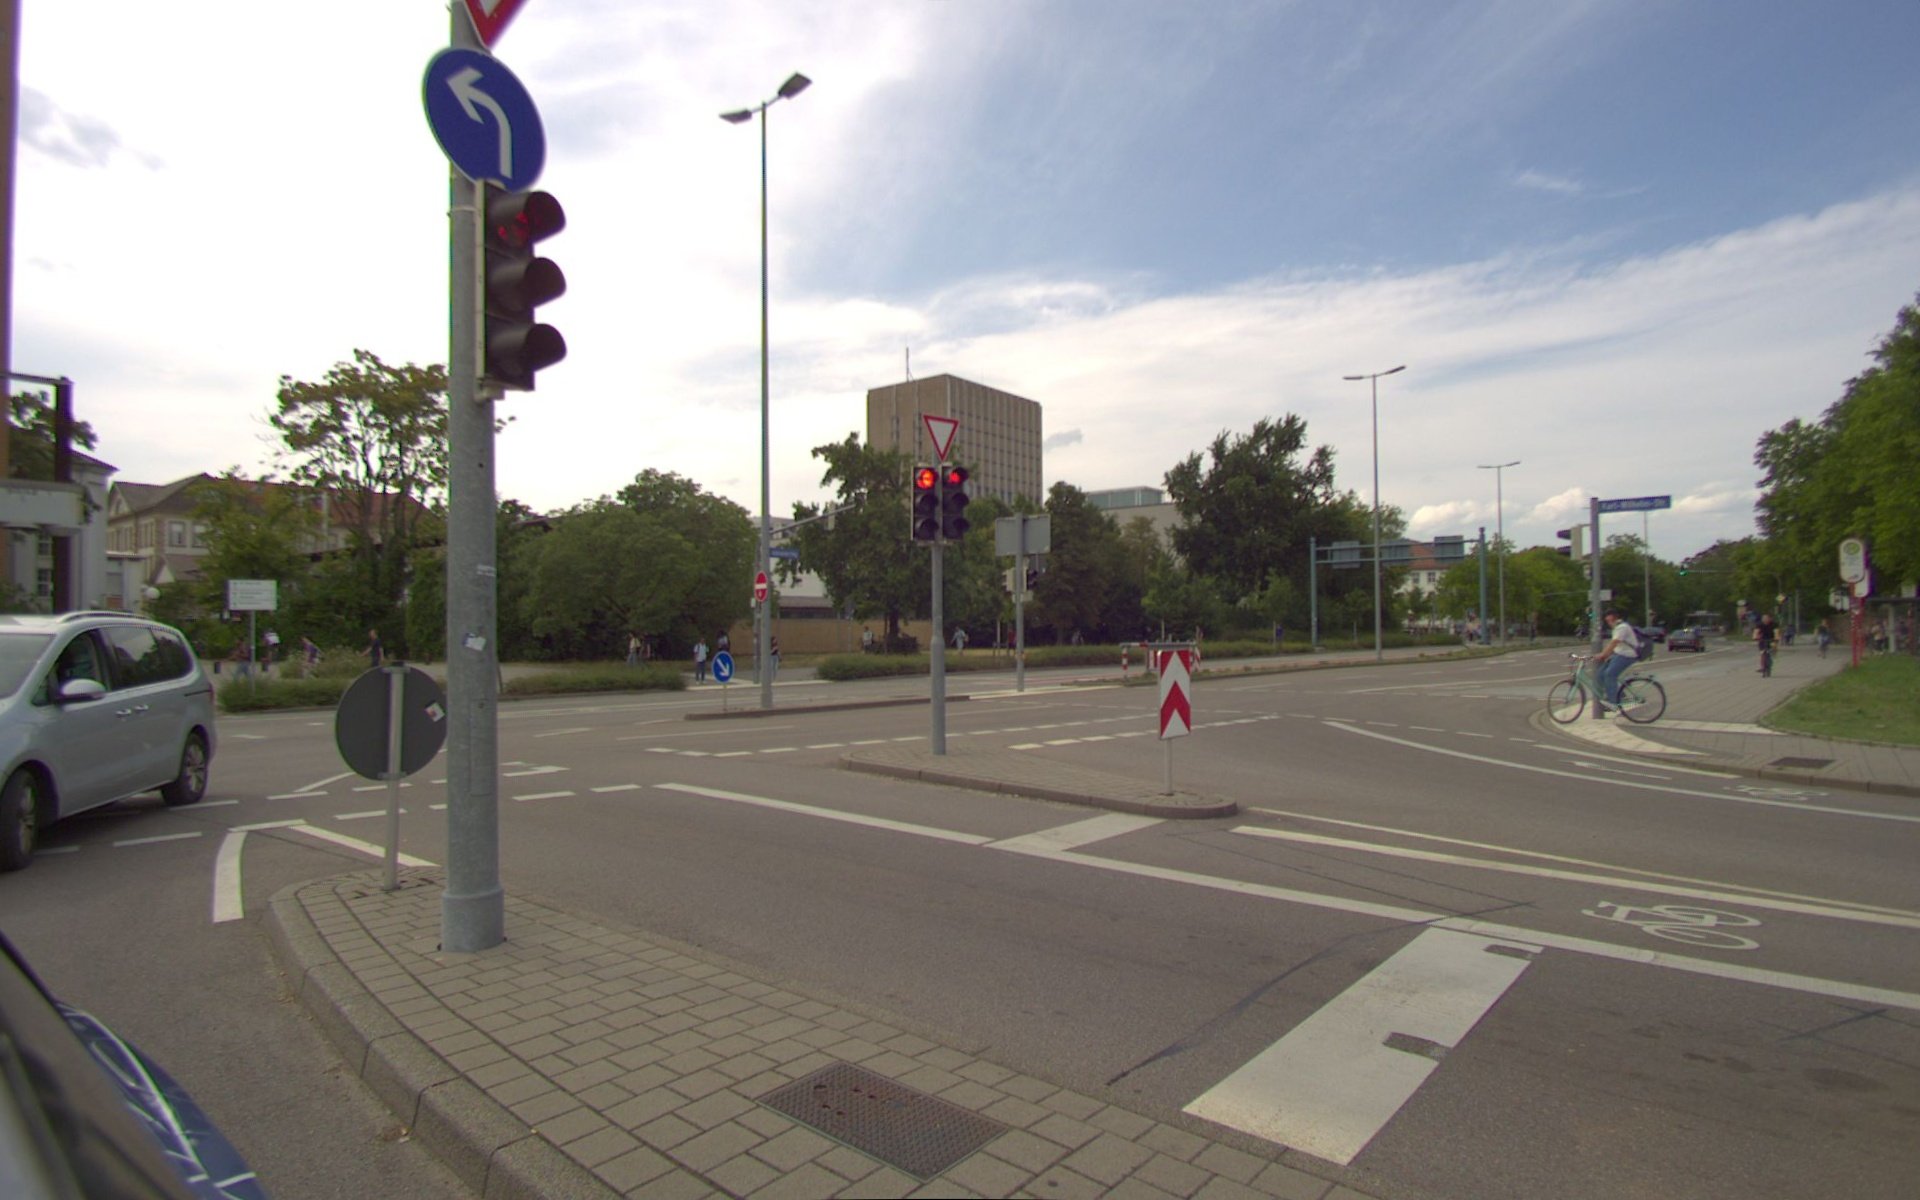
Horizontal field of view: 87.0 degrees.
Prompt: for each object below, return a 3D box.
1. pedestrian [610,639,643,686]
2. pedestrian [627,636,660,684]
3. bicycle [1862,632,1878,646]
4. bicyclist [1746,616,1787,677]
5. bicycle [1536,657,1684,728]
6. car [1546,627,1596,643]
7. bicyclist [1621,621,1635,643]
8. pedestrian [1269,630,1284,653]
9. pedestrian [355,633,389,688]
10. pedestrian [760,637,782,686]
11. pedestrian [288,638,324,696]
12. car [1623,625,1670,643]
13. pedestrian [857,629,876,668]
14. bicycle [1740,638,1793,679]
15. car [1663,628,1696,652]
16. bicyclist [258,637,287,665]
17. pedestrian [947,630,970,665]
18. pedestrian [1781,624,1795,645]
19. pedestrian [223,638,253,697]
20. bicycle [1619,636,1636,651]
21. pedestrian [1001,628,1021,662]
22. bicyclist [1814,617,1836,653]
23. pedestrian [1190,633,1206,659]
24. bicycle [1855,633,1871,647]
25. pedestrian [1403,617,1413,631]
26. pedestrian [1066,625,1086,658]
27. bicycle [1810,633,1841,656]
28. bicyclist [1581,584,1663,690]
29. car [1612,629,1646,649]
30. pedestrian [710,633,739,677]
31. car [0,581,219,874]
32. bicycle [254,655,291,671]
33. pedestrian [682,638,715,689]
[{"bbox_3d":[-12.589,2.352,38.217,0.835,1.724,0.792,-4,-3,27],"label":"pedestrian"},{"bbox_3d":[-11.798,2.243,37.775,0.835,1.724,0.792,-4,-3,27],"label":"pedestrian"},{"bbox_3d":[60.143,2.584,66.890,0.432,0.894,1.559,-6,-5,31],"label":"bicycle"},{"bbox_3d":[21.319,1.229,26.756,0.784,1.567,0.581,-2,-1,-34],"label":"bicyclist"},{"bbox_3d":[9.920,1.405,15.472,1.942,0.943,0.506,-2,-1,-4],"label":"bicycle"},{"bbox_3d":[61.625,3.490,102.157,1.759,1.501,4.143,1,0,-17],"label":"car"},{"bbox_3d":[53.660,2.591,81.271,1.070,1.724,0.779,3,-2,-45],"label":"bicyclist"},{"bbox_3d":[23.858,3.147,76.297,0.714,1.724,0.685,-5,-4,42],"label":"pedestrian"},{"bbox_3d":[-19.234,1.979,33.110,0.788,1.724,0.840,1,-4,-44],"label":"pedestrian"},{"bbox_3d":[-6.824,2.214,36.504,0.579,1.724,0.482,0,-4,-42],"label":"pedestrian"},{"bbox_3d":[-19.904,2.031,30.796,0.788,1.724,0.840,1,-4,-44],"label":"pedestrian"},{"bbox_3d":[62.435,3.108,92.086,1.768,1.501,4.123,0,0,6],"label":"car"},{"bbox_3d":[-4.263,2.202,46.013,0.544,1.709,0.686,0,-1,39],"label":"pedestrian"},{"bbox_3d":[21.283,1.525,26.703,1.939,0.943,0.507,-2,-1,-34],"label":"bicycle"},{"bbox_3d":[49.009,2.724,68.895,1.697,1.492,4.361,-4,-4,36],"label":"car"},{"bbox_3d":[-33.268,2.458,48.990,1.009,1.287,0.830,-4,-4,32],"label":"bicyclist"},{"bbox_3d":[-0.060,2.381,50.505,0.841,1.724,0.686,-5,-4,39],"label":"pedestrian"},{"bbox_3d":[65.571,2.755,80.149,0.753,1.634,0.657,-5,-4,37],"label":"pedestrian"},{"bbox_3d":[-21.606,2.004,30.285,0.624,1.724,0.674,1,-4,-44],"label":"pedestrian"},{"bbox_3d":[53.637,3.511,81.258,0.759,1.198,2.068,0,-2,44],"label":"bicycle"},{"bbox_3d":[2.683,2.348,53.163,0.714,1.724,0.685,-5,-4,42],"label":"pedestrian"},{"bbox_3d":[38.778,1.576,45.372,0.784,1.567,0.496,-2,-1,-34],"label":"bicyclist"},{"bbox_3d":[16.004,3.090,68.009,0.714,1.724,0.685,-5,-4,42],"label":"pedestrian"},{"bbox_3d":[61.101,2.719,68.498,0.432,0.894,1.559,-6,-5,31],"label":"bicycle"},{"bbox_3d":[54.385,2.921,122.815,0.769,1.724,0.685,-5,-4,42],"label":"pedestrian"},{"bbox_3d":[6.161,2.212,53.745,0.683,1.724,0.735,1,-4,-44],"label":"pedestrian"},{"bbox_3d":[38.819,1.990,45.381,1.939,0.943,0.507,-2,-1,-34],"label":"bicycle"},{"bbox_3d":[10.107,0.559,15.475,0.786,1.567,0.580,-2,-1,-4],"label":"bicyclist"},{"bbox_3d":[55.859,3.222,84.477,1.790,1.501,4.072,0,-1,42],"label":"car"},{"bbox_3d":[-9.430,2.190,40.510,0.714,1.724,0.789,-5,-4,39],"label":"pedestrian"},{"bbox_3d":[-7.117,0.873,7.194,1.794,1.747,4.542,-1,-3,-20],"label":"car"},{"bbox_3d":[-33.288,3.069,48.985,1.838,0.699,0.834,-4,-3,32],"label":"bicycle"},{"bbox_3d":[-9.109,2.196,35.251,0.827,1.724,0.801,0,-4,-42],"label":"pedestrian"}]
